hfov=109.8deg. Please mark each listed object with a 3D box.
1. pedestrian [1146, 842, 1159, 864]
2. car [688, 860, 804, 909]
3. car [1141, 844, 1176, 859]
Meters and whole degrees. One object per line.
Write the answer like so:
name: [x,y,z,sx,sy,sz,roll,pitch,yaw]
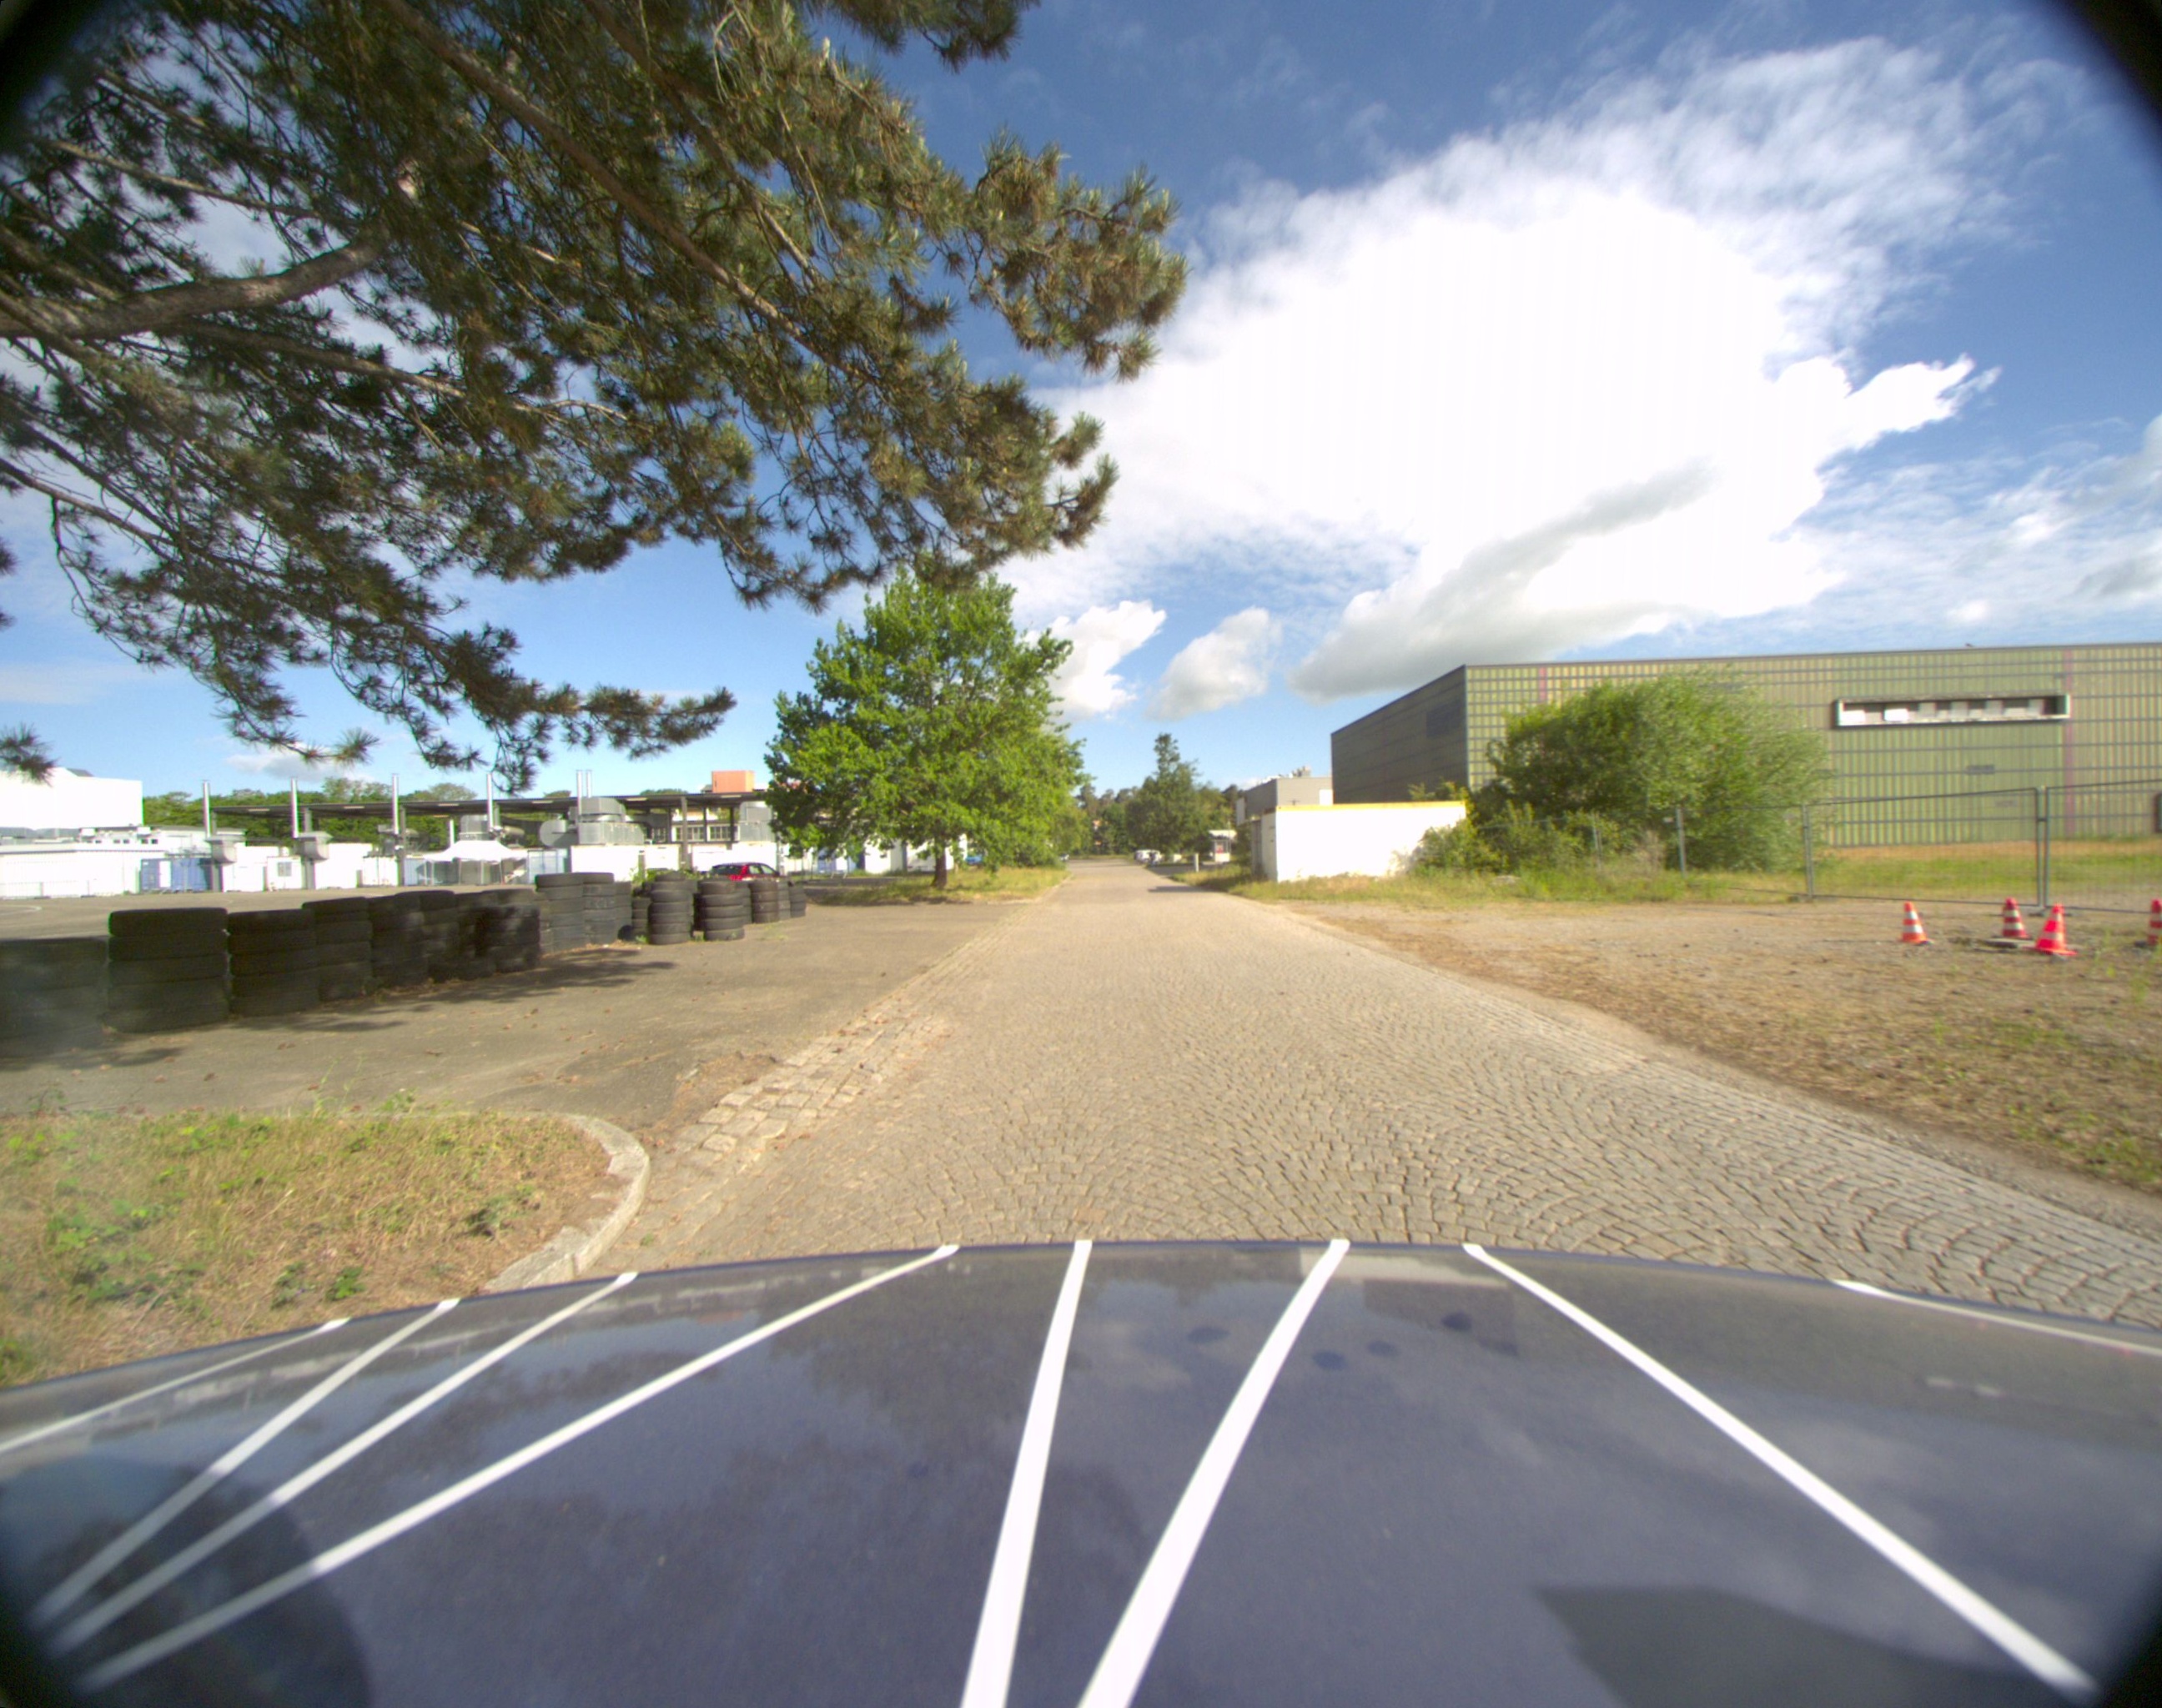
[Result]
pedestrian: [5.925,-0.072,62.927,0.908,1.797,0.983,-2,1,-5]
car: [-11.489,1.007,26.382,1.846,1.440,4.002,-2,1,8]
car: [9.308,-0.364,91.509,3.995,1.678,2.000,-2,1,5]
